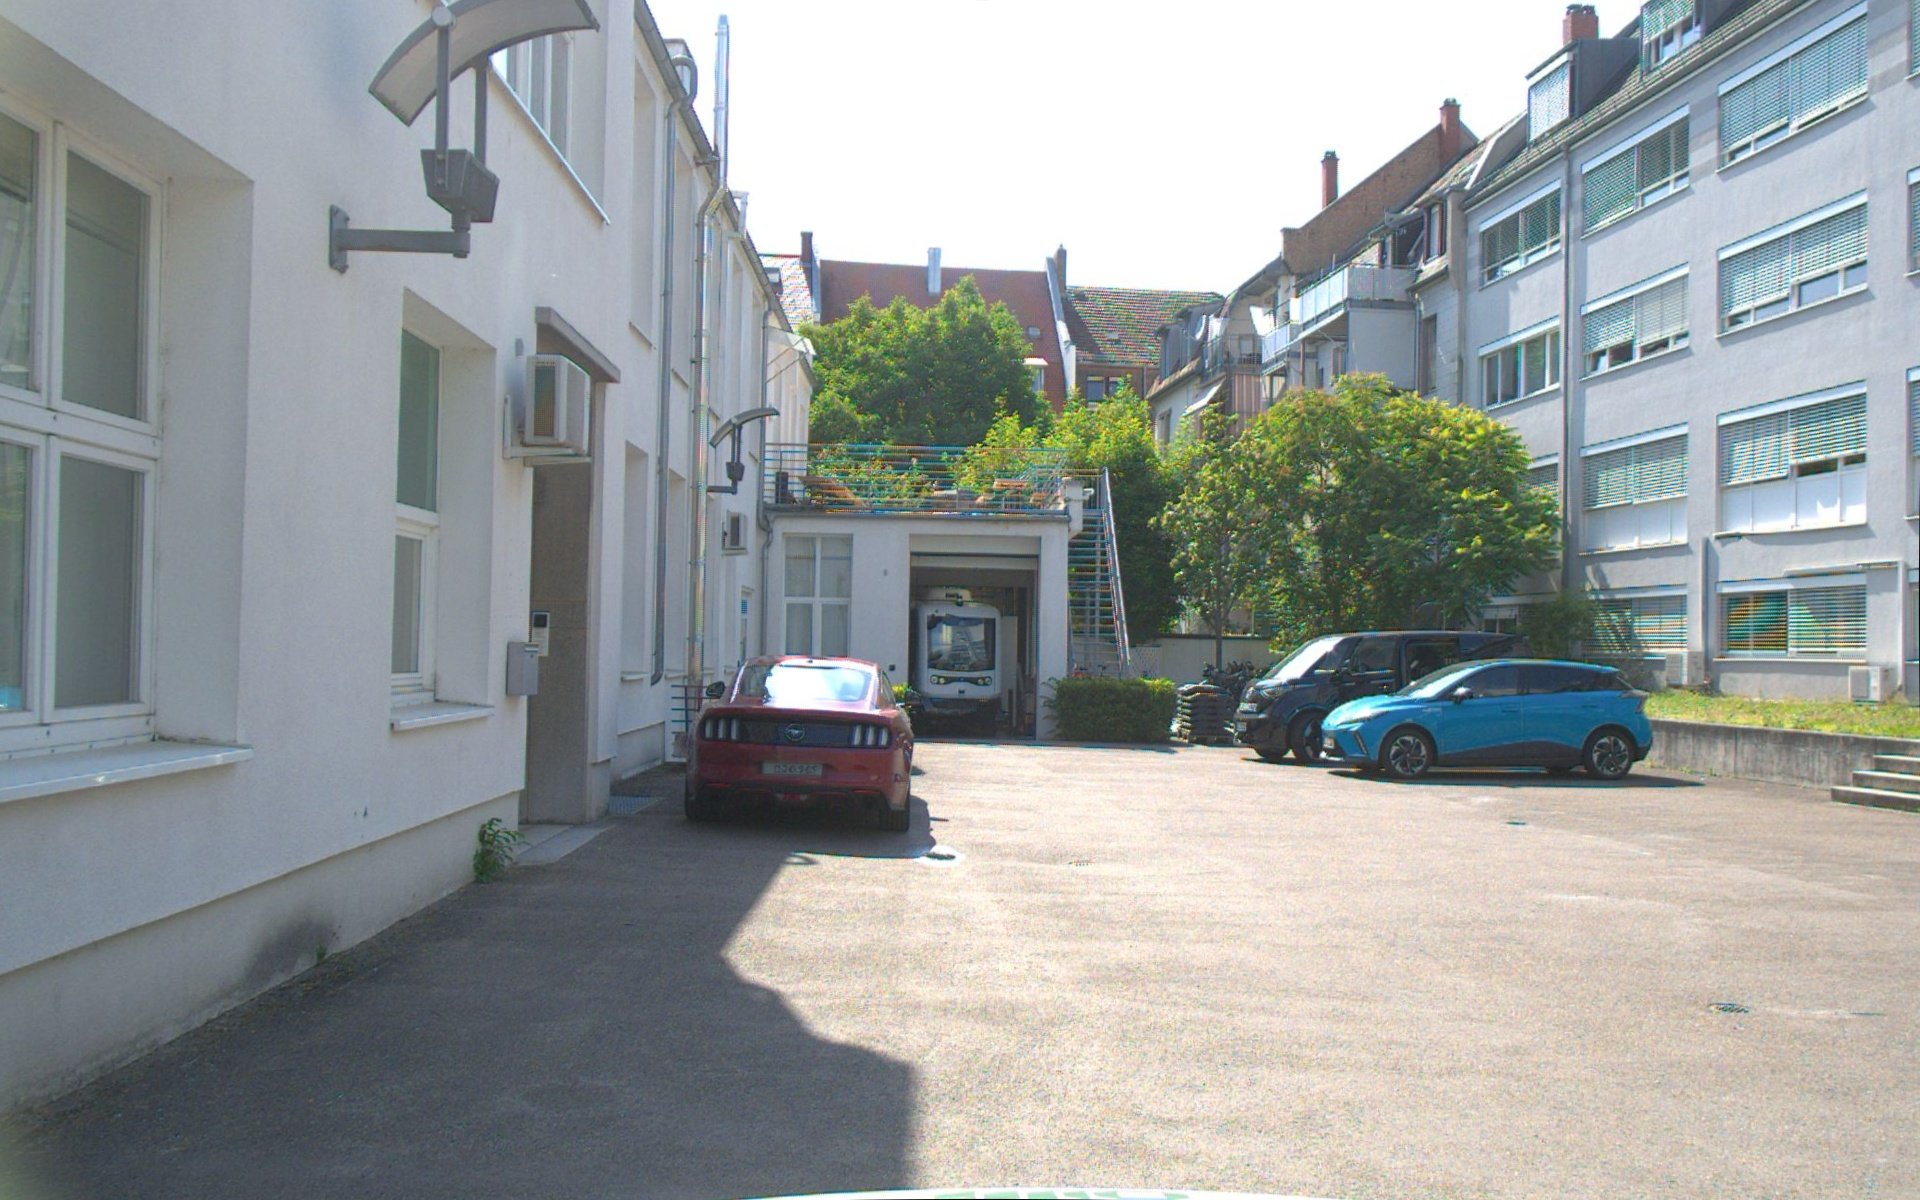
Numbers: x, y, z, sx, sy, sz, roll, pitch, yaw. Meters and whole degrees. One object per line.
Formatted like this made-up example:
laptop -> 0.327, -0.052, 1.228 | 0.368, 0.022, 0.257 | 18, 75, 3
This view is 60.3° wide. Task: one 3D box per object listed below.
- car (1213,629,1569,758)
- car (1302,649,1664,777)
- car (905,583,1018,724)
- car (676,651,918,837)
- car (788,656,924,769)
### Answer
car -> 6.520, 1.362, 25.213 | 4.867, 1.799, 2.089 | 0, -1, -14
car -> 6.859, 1.455, 21.965 | 4.146, 1.559, 1.998 | 0, -1, -5
car -> -0.006, 1.127, 34.649 | 2.130, 2.653, 6.732 | 0, -2, -1
car -> -1.320, 1.176, 14.787 | 1.815, 1.343, 3.998 | 2, -2, -2
car -> -1.284, 1.409, 21.638 | 1.581, 1.318, 3.757 | 0, -2, -1
